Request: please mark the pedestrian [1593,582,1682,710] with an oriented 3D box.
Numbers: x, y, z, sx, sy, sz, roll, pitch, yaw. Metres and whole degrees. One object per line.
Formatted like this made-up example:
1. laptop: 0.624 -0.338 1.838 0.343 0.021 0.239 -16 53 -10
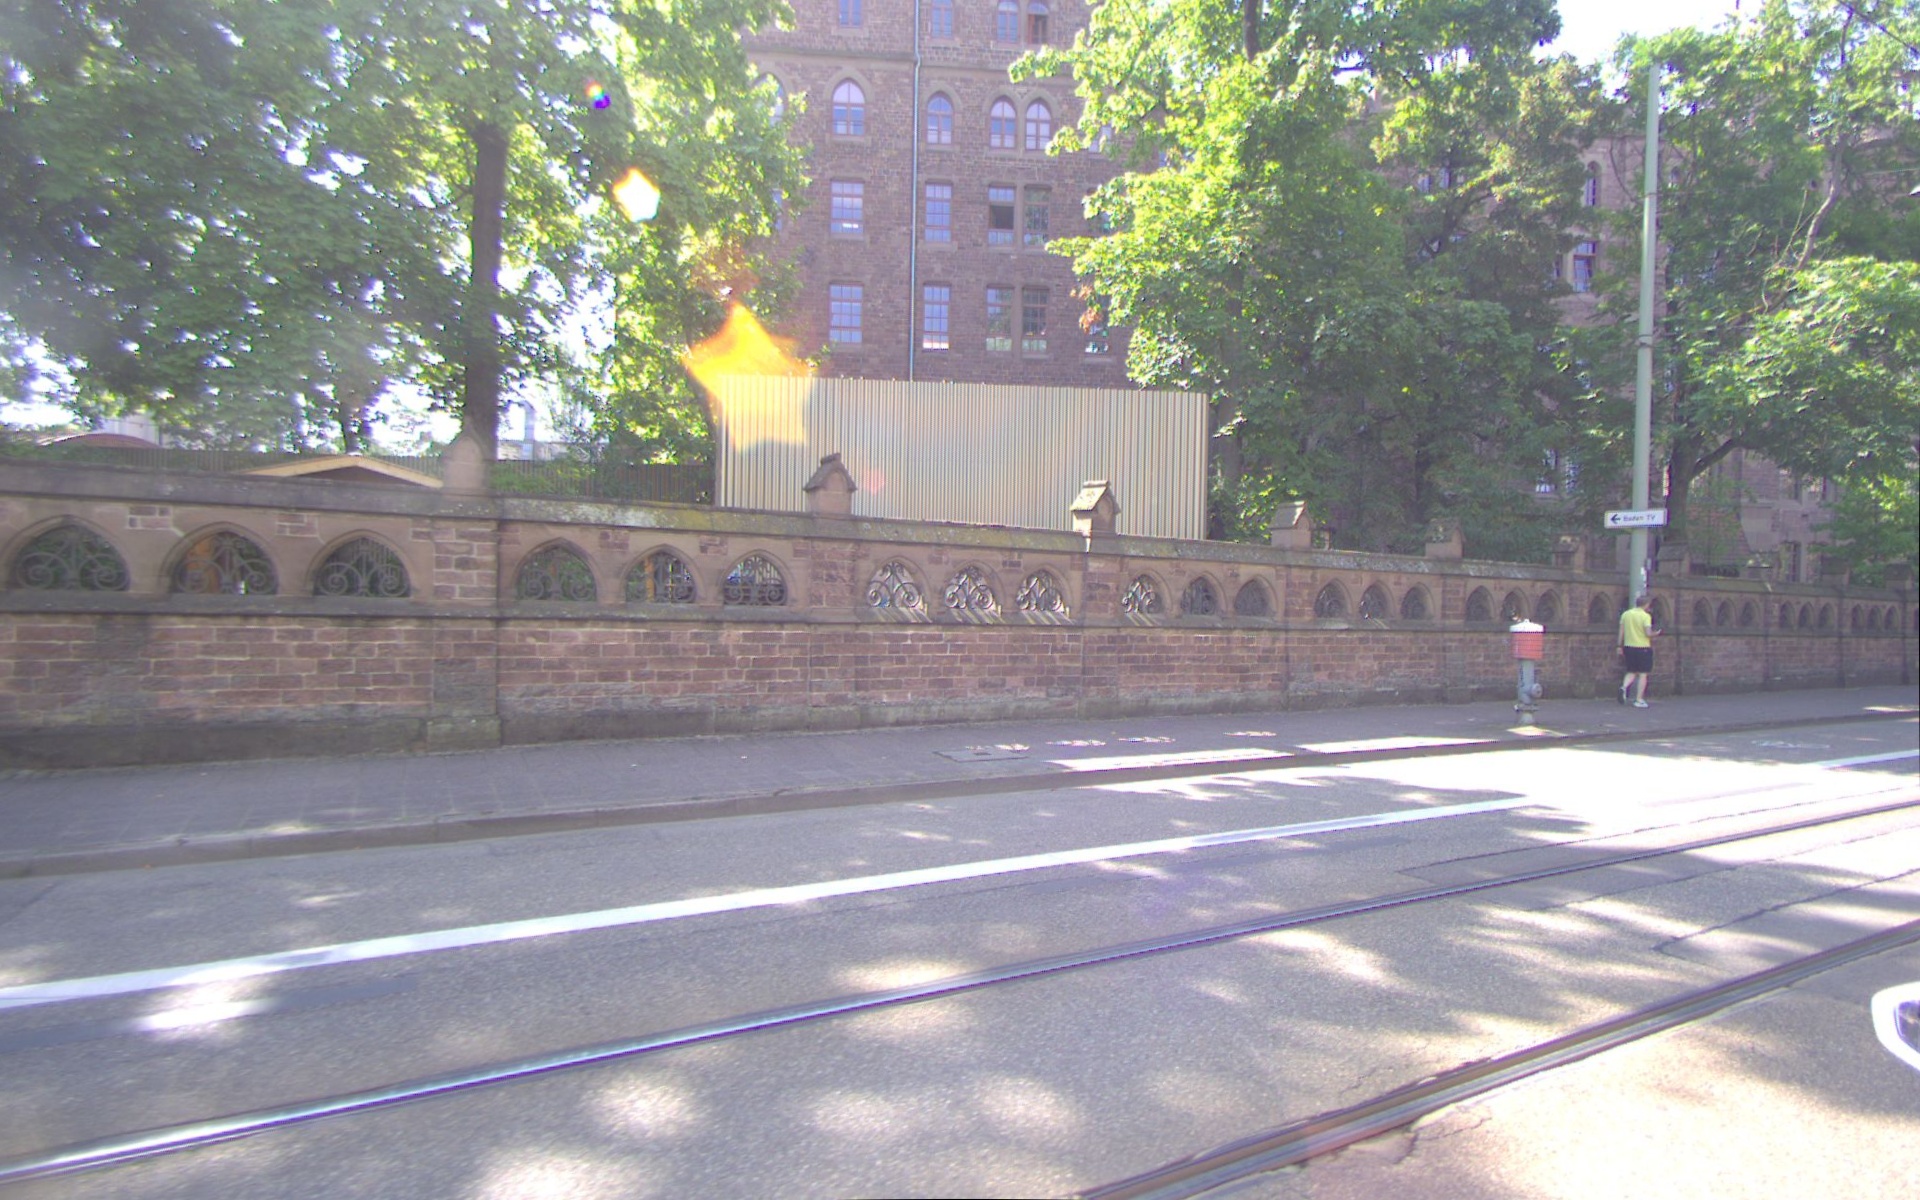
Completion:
1. pedestrian: 11.226 0.736 16.647 0.972 2.040 0.859 1 0 -31
